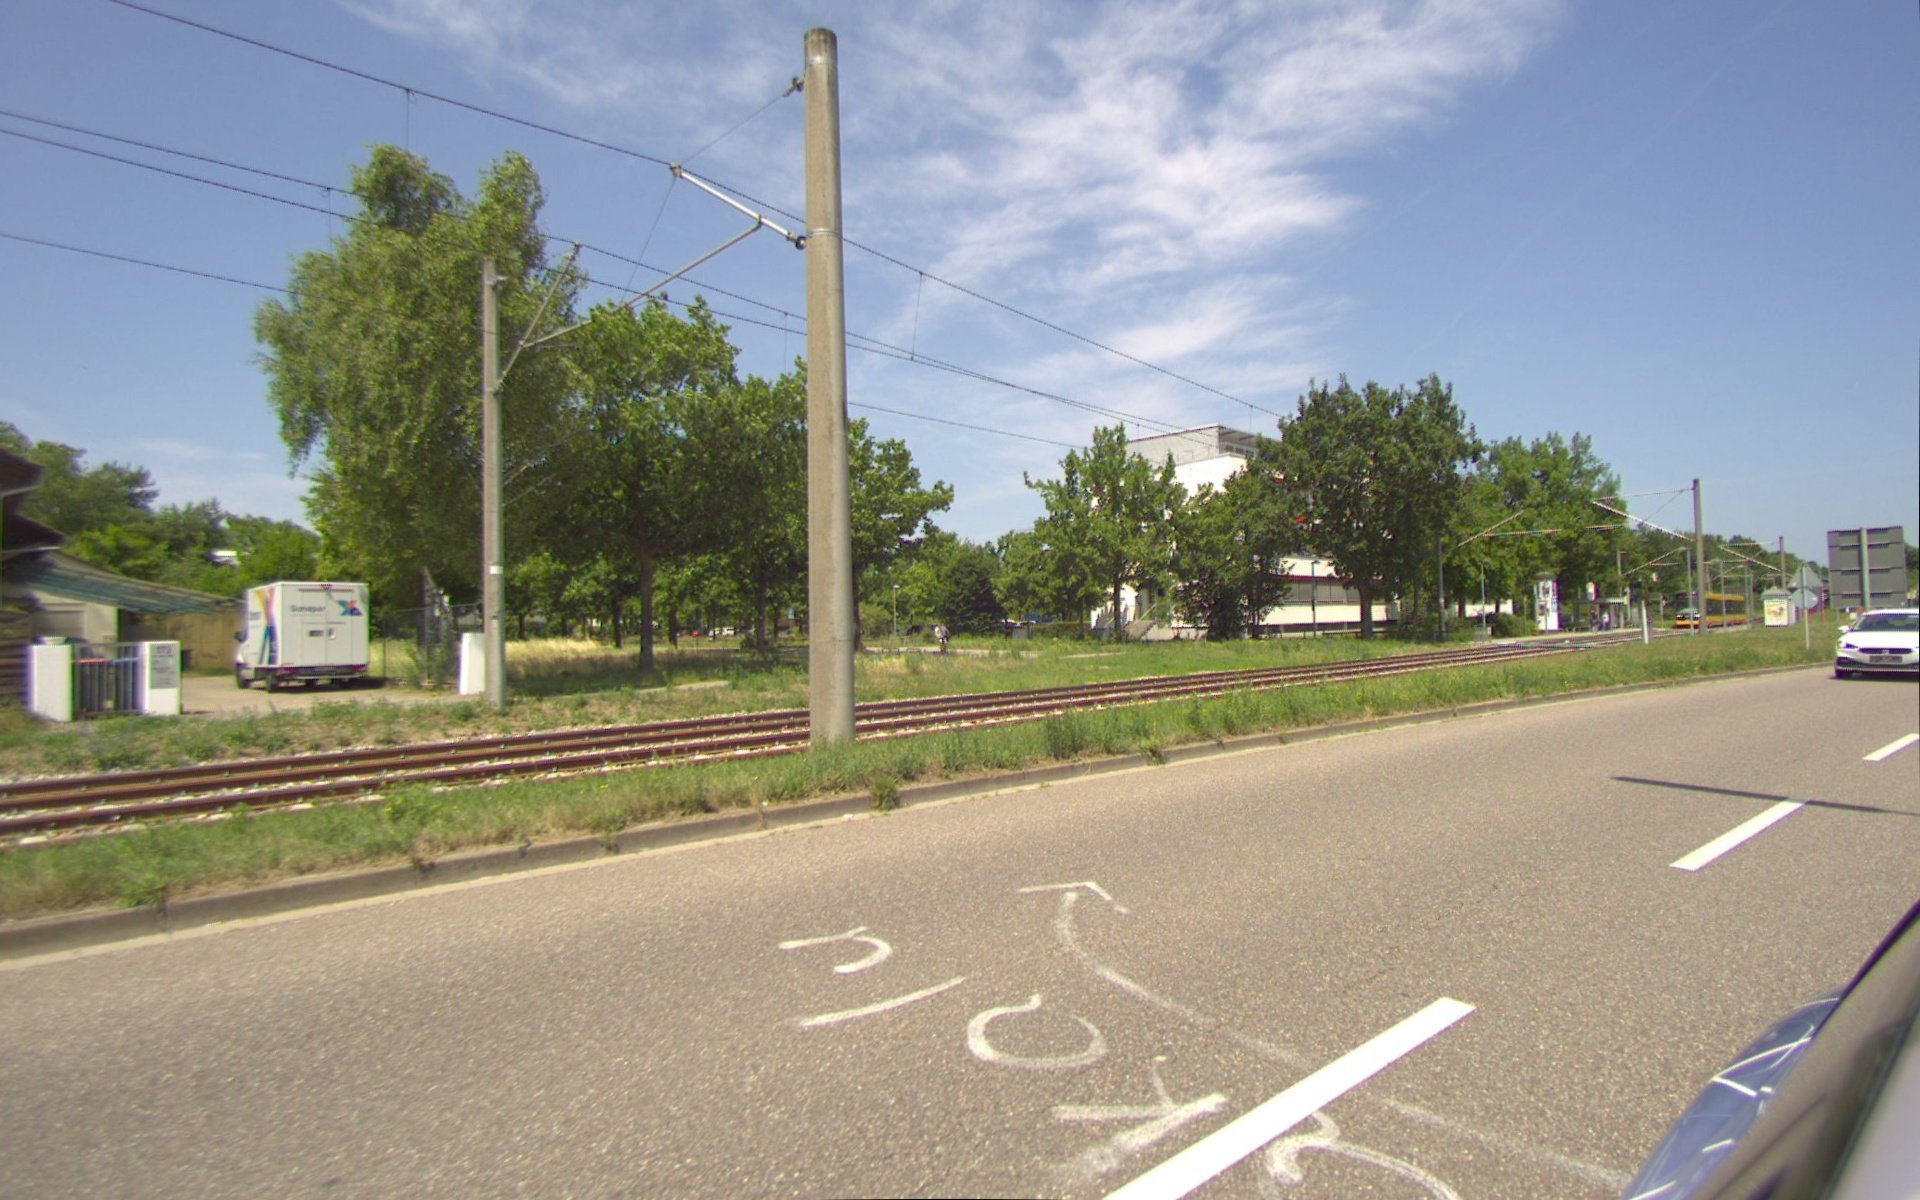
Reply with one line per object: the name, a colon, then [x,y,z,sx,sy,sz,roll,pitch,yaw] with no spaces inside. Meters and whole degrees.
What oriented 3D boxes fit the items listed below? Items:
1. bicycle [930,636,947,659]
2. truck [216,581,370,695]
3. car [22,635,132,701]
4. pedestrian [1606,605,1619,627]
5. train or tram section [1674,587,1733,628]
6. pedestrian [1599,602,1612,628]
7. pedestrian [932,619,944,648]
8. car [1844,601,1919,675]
bicycle: [-1.097,2.407,51.063,0.422,1.134,1.583,-1,-2,-15]
truck: [-18.776,0.980,28.353,5.837,2.879,2.284,-1,-1,43]
car: [-22.683,1.711,25.966,3.429,1.529,1.658,-3,-2,41]
pedestrian: [49.699,1.228,77.101,0.678,1.629,0.553,-1,-3,-40]
train or tram section: [70.768,0.633,96.223,2.815,3.626,12.301,2,2,44]
pedestrian: [46.958,1.093,73.609,0.691,1.866,0.703,-5,-3,34]
pedestrian: [-1.118,1.686,51.292,0.449,1.421,0.585,-1,-2,-17]
car: [20.004,0.735,21.137,4.372,1.407,1.685,0,0,-40]
